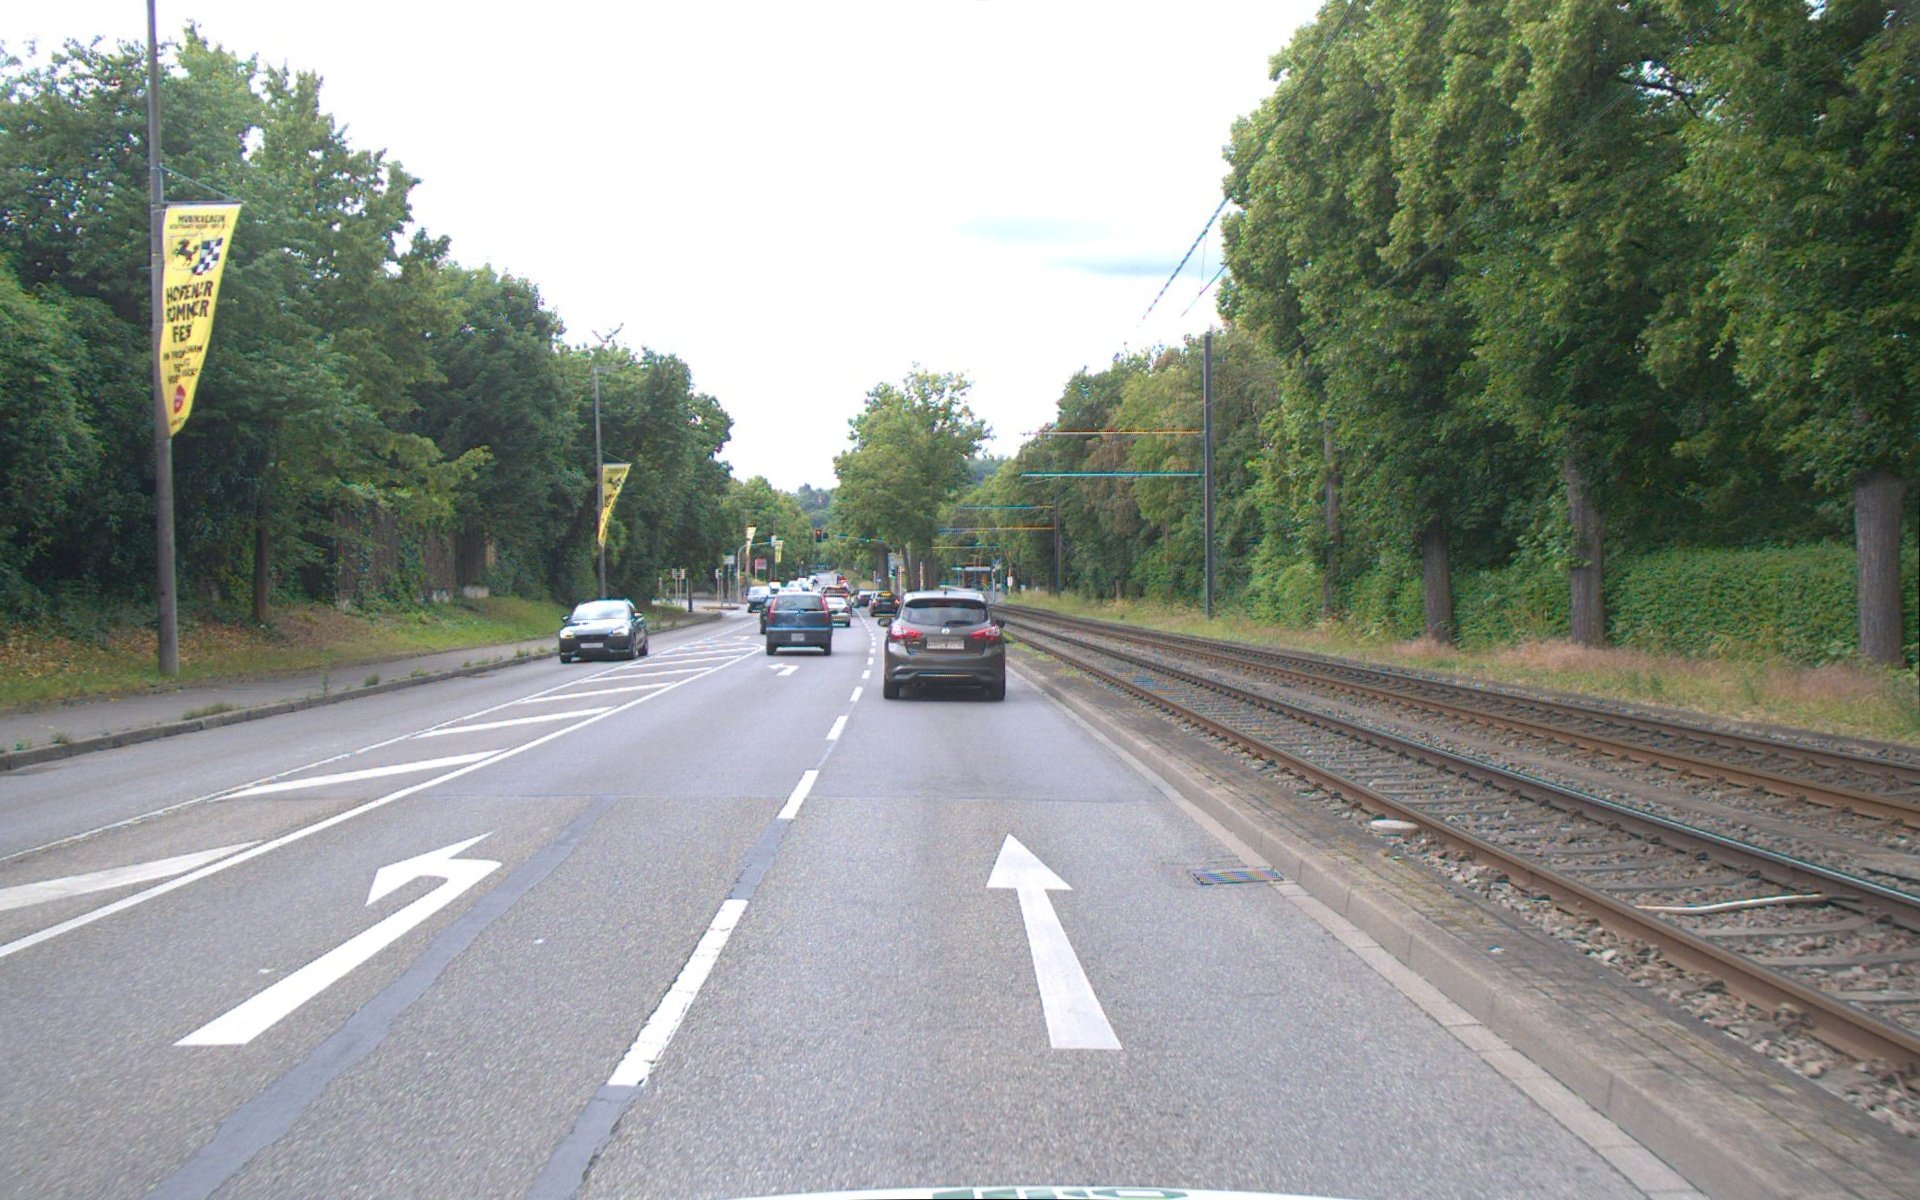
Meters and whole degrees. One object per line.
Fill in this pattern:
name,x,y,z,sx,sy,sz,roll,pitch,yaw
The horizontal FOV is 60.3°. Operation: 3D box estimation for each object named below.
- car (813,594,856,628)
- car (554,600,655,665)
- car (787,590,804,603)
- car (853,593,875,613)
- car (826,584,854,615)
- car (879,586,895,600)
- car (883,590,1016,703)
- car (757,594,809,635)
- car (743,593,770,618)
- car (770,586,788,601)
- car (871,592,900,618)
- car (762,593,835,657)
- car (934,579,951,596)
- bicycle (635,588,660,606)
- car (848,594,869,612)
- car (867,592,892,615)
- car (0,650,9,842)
car,-5.577,0.494,74.053,1.680,1.460,3.999,0,0,-1
car,-8.639,0.745,40.547,1.805,1.399,4.443,-2,1,-5
car,-20.371,-0.417,204.831,1.680,1.577,3.999,0,0,-1
car,-8.011,0.248,138.072,1.680,1.577,3.999,0,0,-1
car,-7.351,-0.021,101.727,1.681,1.896,3.997,0,0,-4
car,-8.322,-0.814,188.622,1.680,1.577,3.999,0,0,-1
car,-0.165,0.628,24.663,1.813,1.519,4.000,0,0,-1
car,-6.617,0.531,62.128,1.681,1.460,3.997,0,0,-3
car,-15.109,0.414,123.034,1.681,1.791,3.997,0,0,-3
car,-20.179,-0.734,184.611,1.680,1.577,3.999,0,0,-1
car,-4.570,0.318,101.445,1.680,1.577,3.999,0,0,-1
car,-3.904,0.572,40.421,1.666,1.469,3.996,0,0,-5
car,-1.856,-1.332,177.395,1.681,1.692,3.705,0,0,-3
bicycle,-19.372,-0.208,102.475,0.489,1.127,1.797,0,0,29
car,-9.142,0.262,149.195,1.680,1.577,3.999,0,0,-1
car,-5.702,0.259,117.601,1.680,1.577,3.999,0,0,-1
car,-6.859,0.833,8.361,1.790,1.482,4.140,-3,0,-3
